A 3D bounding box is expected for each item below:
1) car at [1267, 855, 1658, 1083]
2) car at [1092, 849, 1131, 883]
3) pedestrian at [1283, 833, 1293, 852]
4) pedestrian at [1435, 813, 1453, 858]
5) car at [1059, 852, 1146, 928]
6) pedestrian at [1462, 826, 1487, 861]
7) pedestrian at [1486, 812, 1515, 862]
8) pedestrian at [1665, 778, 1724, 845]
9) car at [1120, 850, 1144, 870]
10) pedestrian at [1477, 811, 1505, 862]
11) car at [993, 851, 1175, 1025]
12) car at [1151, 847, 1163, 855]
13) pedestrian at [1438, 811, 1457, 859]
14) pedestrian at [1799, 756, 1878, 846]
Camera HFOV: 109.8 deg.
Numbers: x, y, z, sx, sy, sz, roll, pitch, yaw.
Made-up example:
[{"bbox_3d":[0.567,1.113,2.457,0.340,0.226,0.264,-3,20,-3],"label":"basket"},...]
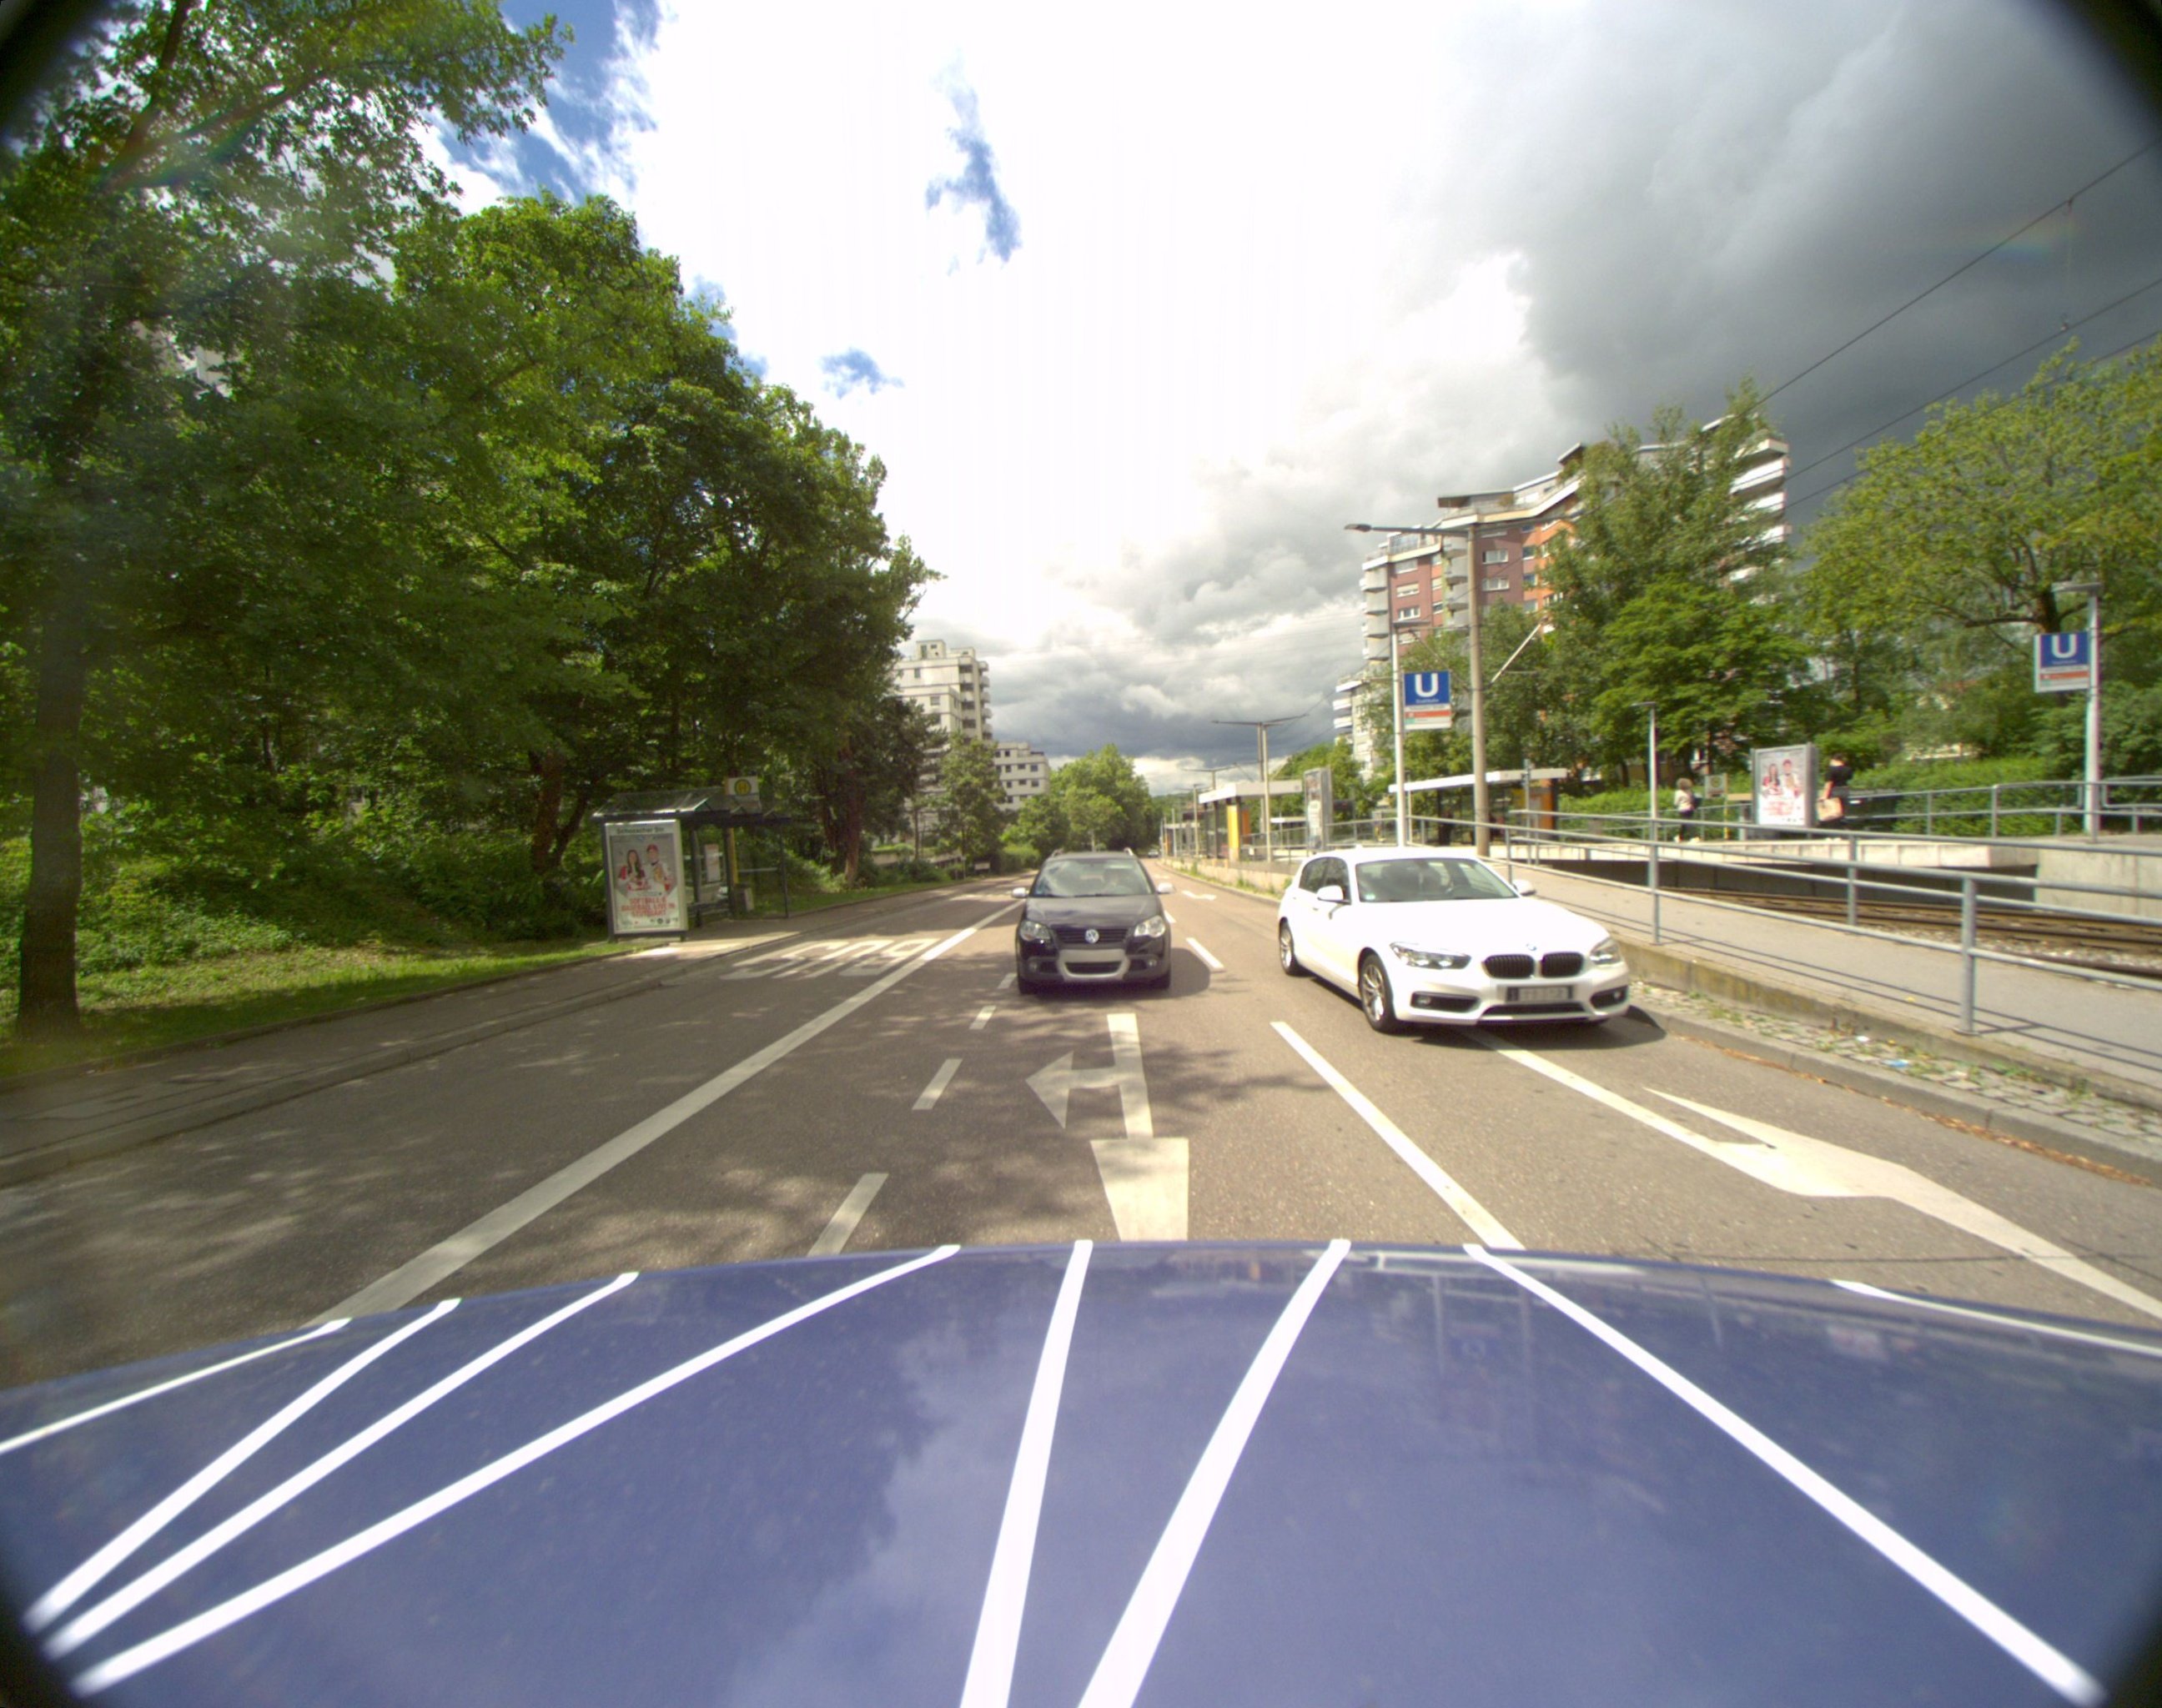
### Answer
[{"bbox_3d":[3.087,0.783,7.274,1.793,1.443,4.276,0,1,3],"label":"car"},{"bbox_3d":[1.521,0.571,38.771,1.846,1.553,3.999,-2,1,1],"label":"car"},{"bbox_3d":[18.410,-1.038,67.559,0.774,1.696,0.766,-2,2,9],"label":"pedestrian"},{"bbox_3d":[16.676,-0.851,34.936,0.517,2.002,0.557,-2,2,1],"label":"pedestrian"},{"bbox_3d":[0.480,0.772,18.285,1.819,1.483,3.999,2,2,1],"label":"car"},{"bbox_3d":[16.353,-0.430,31.587,0.645,1.407,0.658,-2,2,1],"label":"pedestrian"},{"bbox_3d":[16.300,-0.656,29.561,0.771,1.921,0.573,-2,2,-1],"label":"pedestrian"},{"bbox_3d":[15.283,-1.046,18.941,0.865,1.597,0.747,-2,2,0],"label":"pedestrian"},{"bbox_3d":[4.161,0.466,61.433,1.845,1.409,4.000,-2,1,4],"label":"car"},{"bbox_3d":[16.446,-0.708,30.472,0.780,2.002,0.584,-2,2,1],"label":"pedestrian"},{"bbox_3d":[0.219,0.799,9.085,1.681,1.529,3.794,-2,1,6],"label":"car"},{"bbox_3d":[12.694,-0.577,126.887,1.805,1.208,4.022,-2,1,4],"label":"car"},{"bbox_3d":[16.578,-0.877,34.343,0.532,2.129,0.608,-2,2,4],"label":"pedestrian"},{"bbox_3d":[15.505,-1.071,15.573,0.865,1.764,0.747,-2,2,0],"label":"pedestrian"}]
